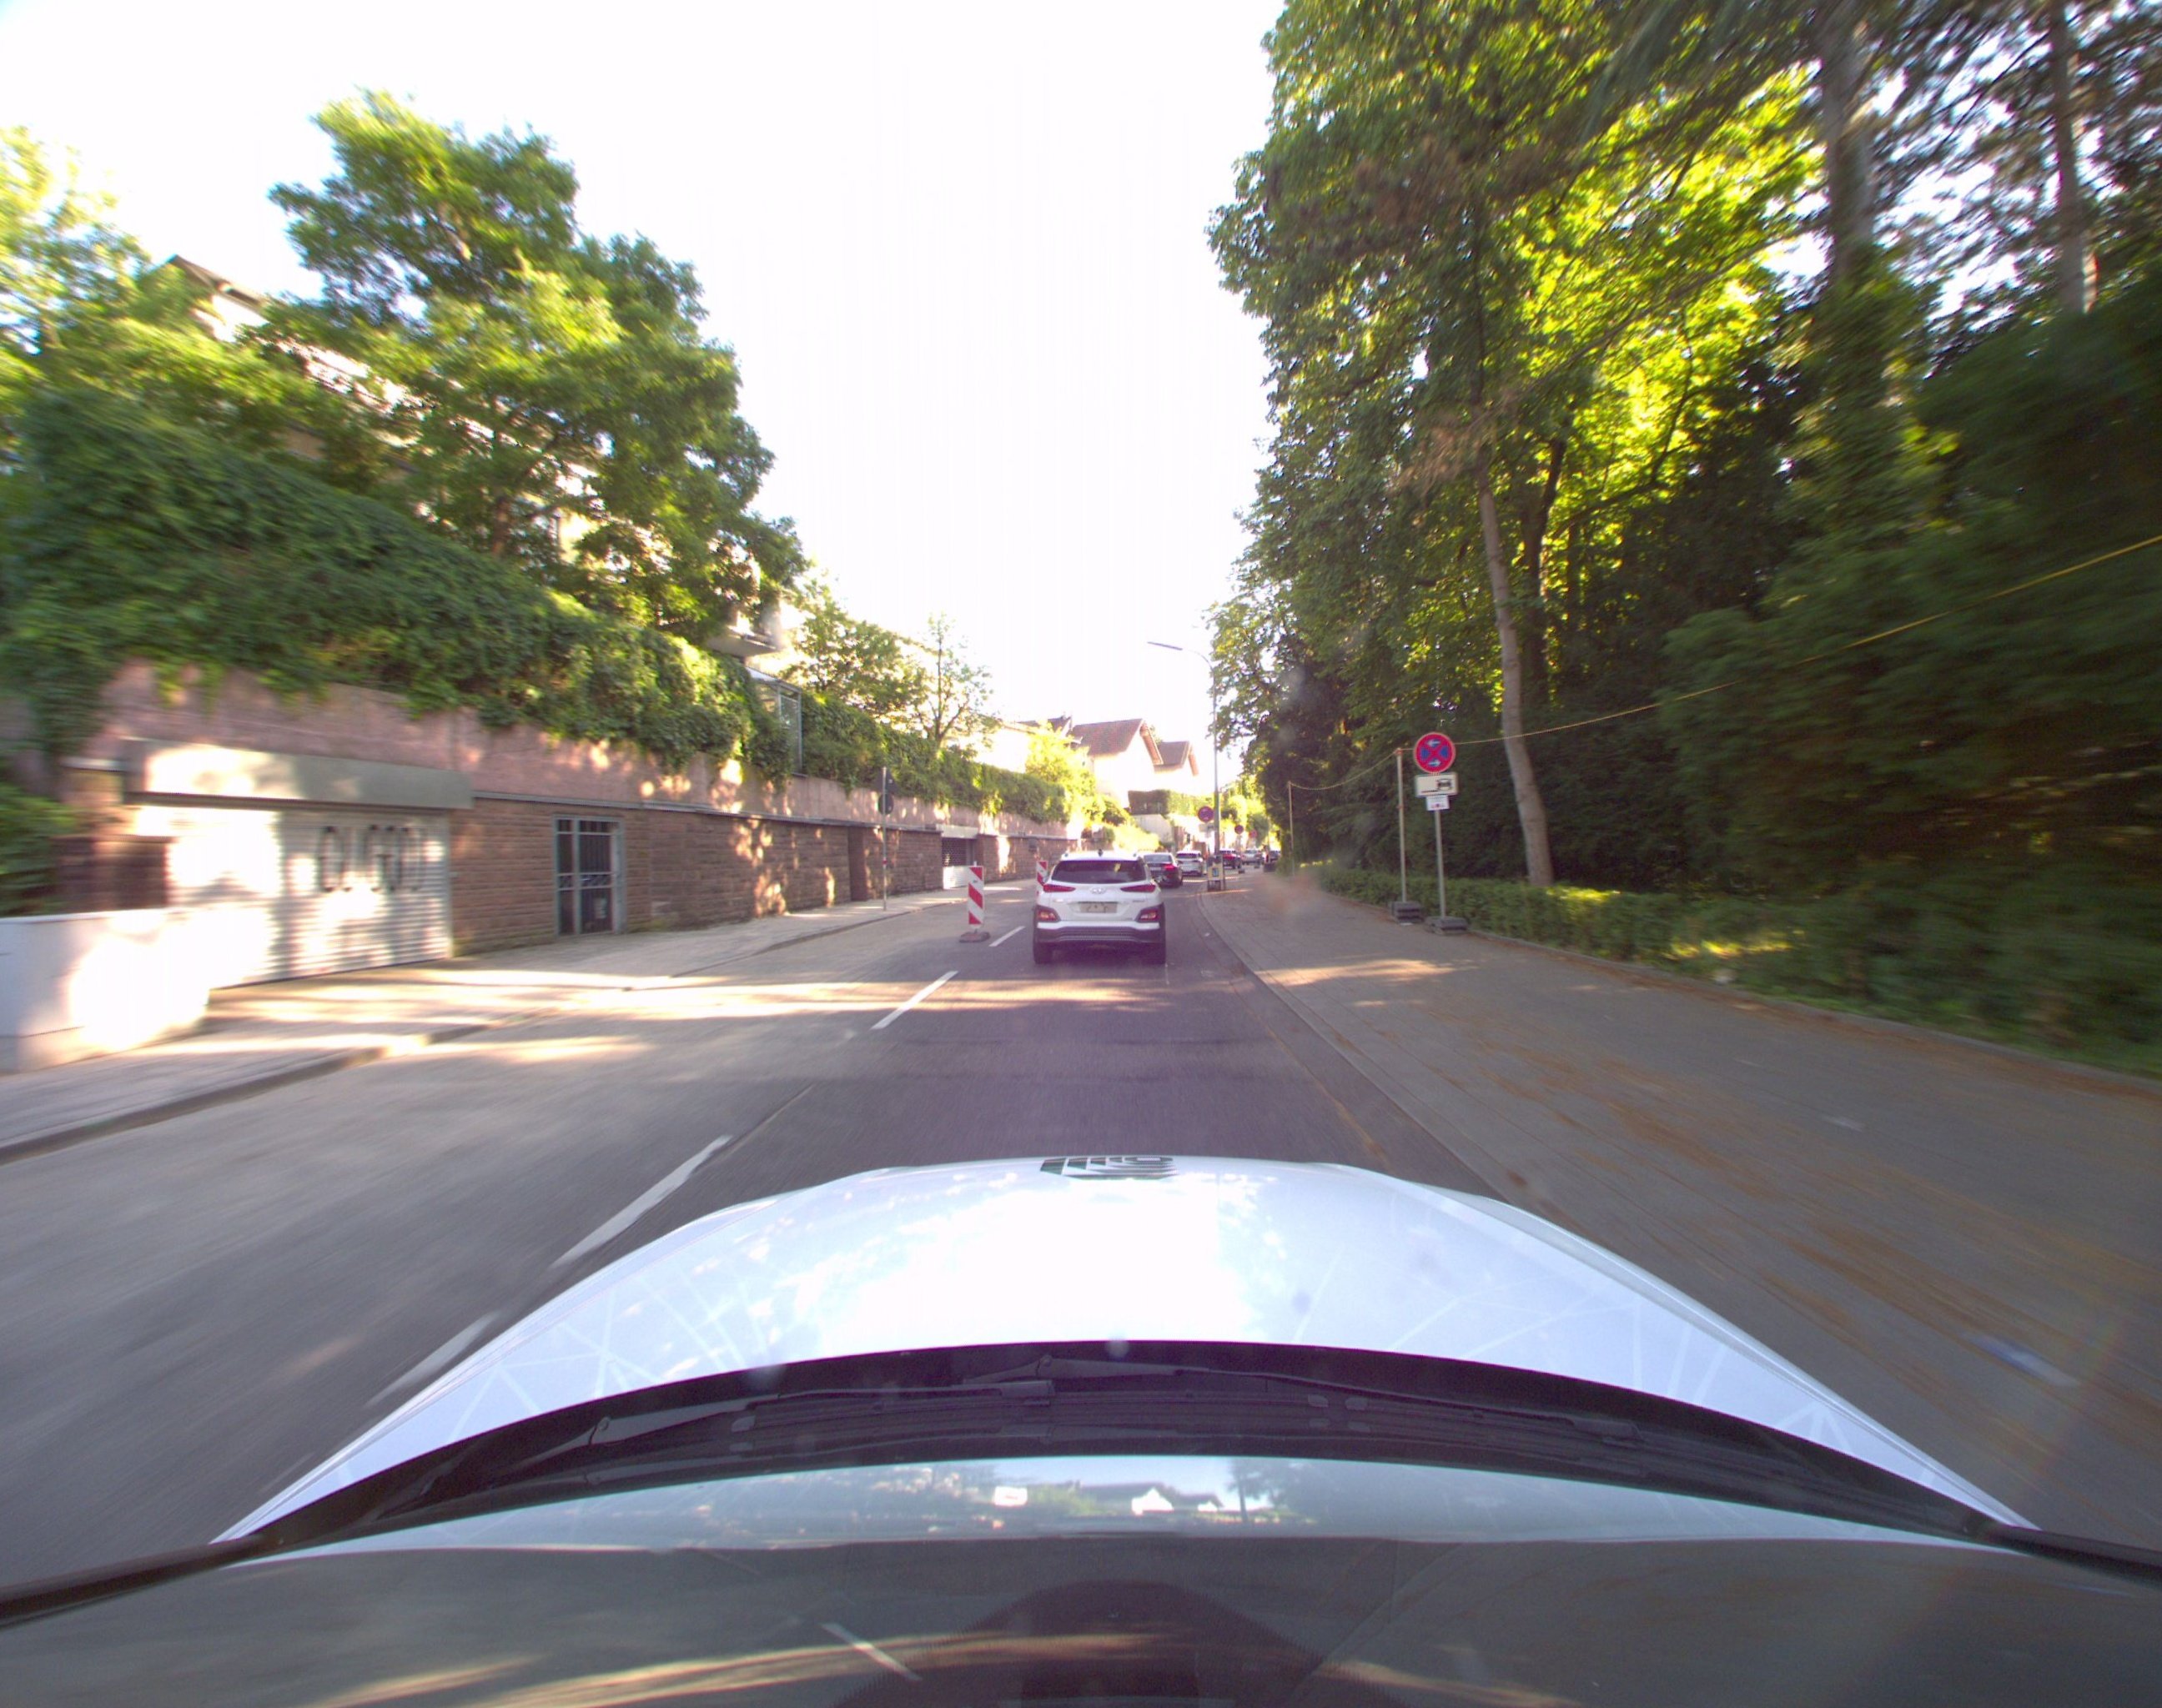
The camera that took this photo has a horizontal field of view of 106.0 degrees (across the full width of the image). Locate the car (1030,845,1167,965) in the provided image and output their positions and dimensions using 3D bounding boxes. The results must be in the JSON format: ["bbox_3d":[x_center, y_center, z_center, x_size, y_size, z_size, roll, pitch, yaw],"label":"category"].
[{"bbox_3d":[0.281,0.648,12.565,1.766,1.542,4.001,-1,0,1],"label":"car"}]

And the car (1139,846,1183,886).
[{"bbox_3d":[3.389,0.460,34.091,1.503,1.533,3.557,-2,0,10],"label":"car"}]

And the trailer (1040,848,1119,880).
[{"bbox_3d":[0.067,0.449,41.647,2.622,1.489,7.141,-1,0,12],"label":"trailer"}]

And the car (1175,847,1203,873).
[{"bbox_3d":[6.520,0.308,49.024,1.561,1.477,3.557,-1,0,9],"label":"car"}]

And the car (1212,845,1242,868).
[{"bbox_3d":[11.663,0.176,64.865,1.680,1.533,3.899,-6,0,17],"label":"car"}]

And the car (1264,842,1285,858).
[{"bbox_3d":[22.179,-0.477,93.398,1.679,1.504,3.650,-5,0,21],"label":"car"}]

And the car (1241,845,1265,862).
[{"bbox_3d":[16.835,-0.066,79.639,1.680,1.447,3.900,-5,0,18],"label":"car"}]
